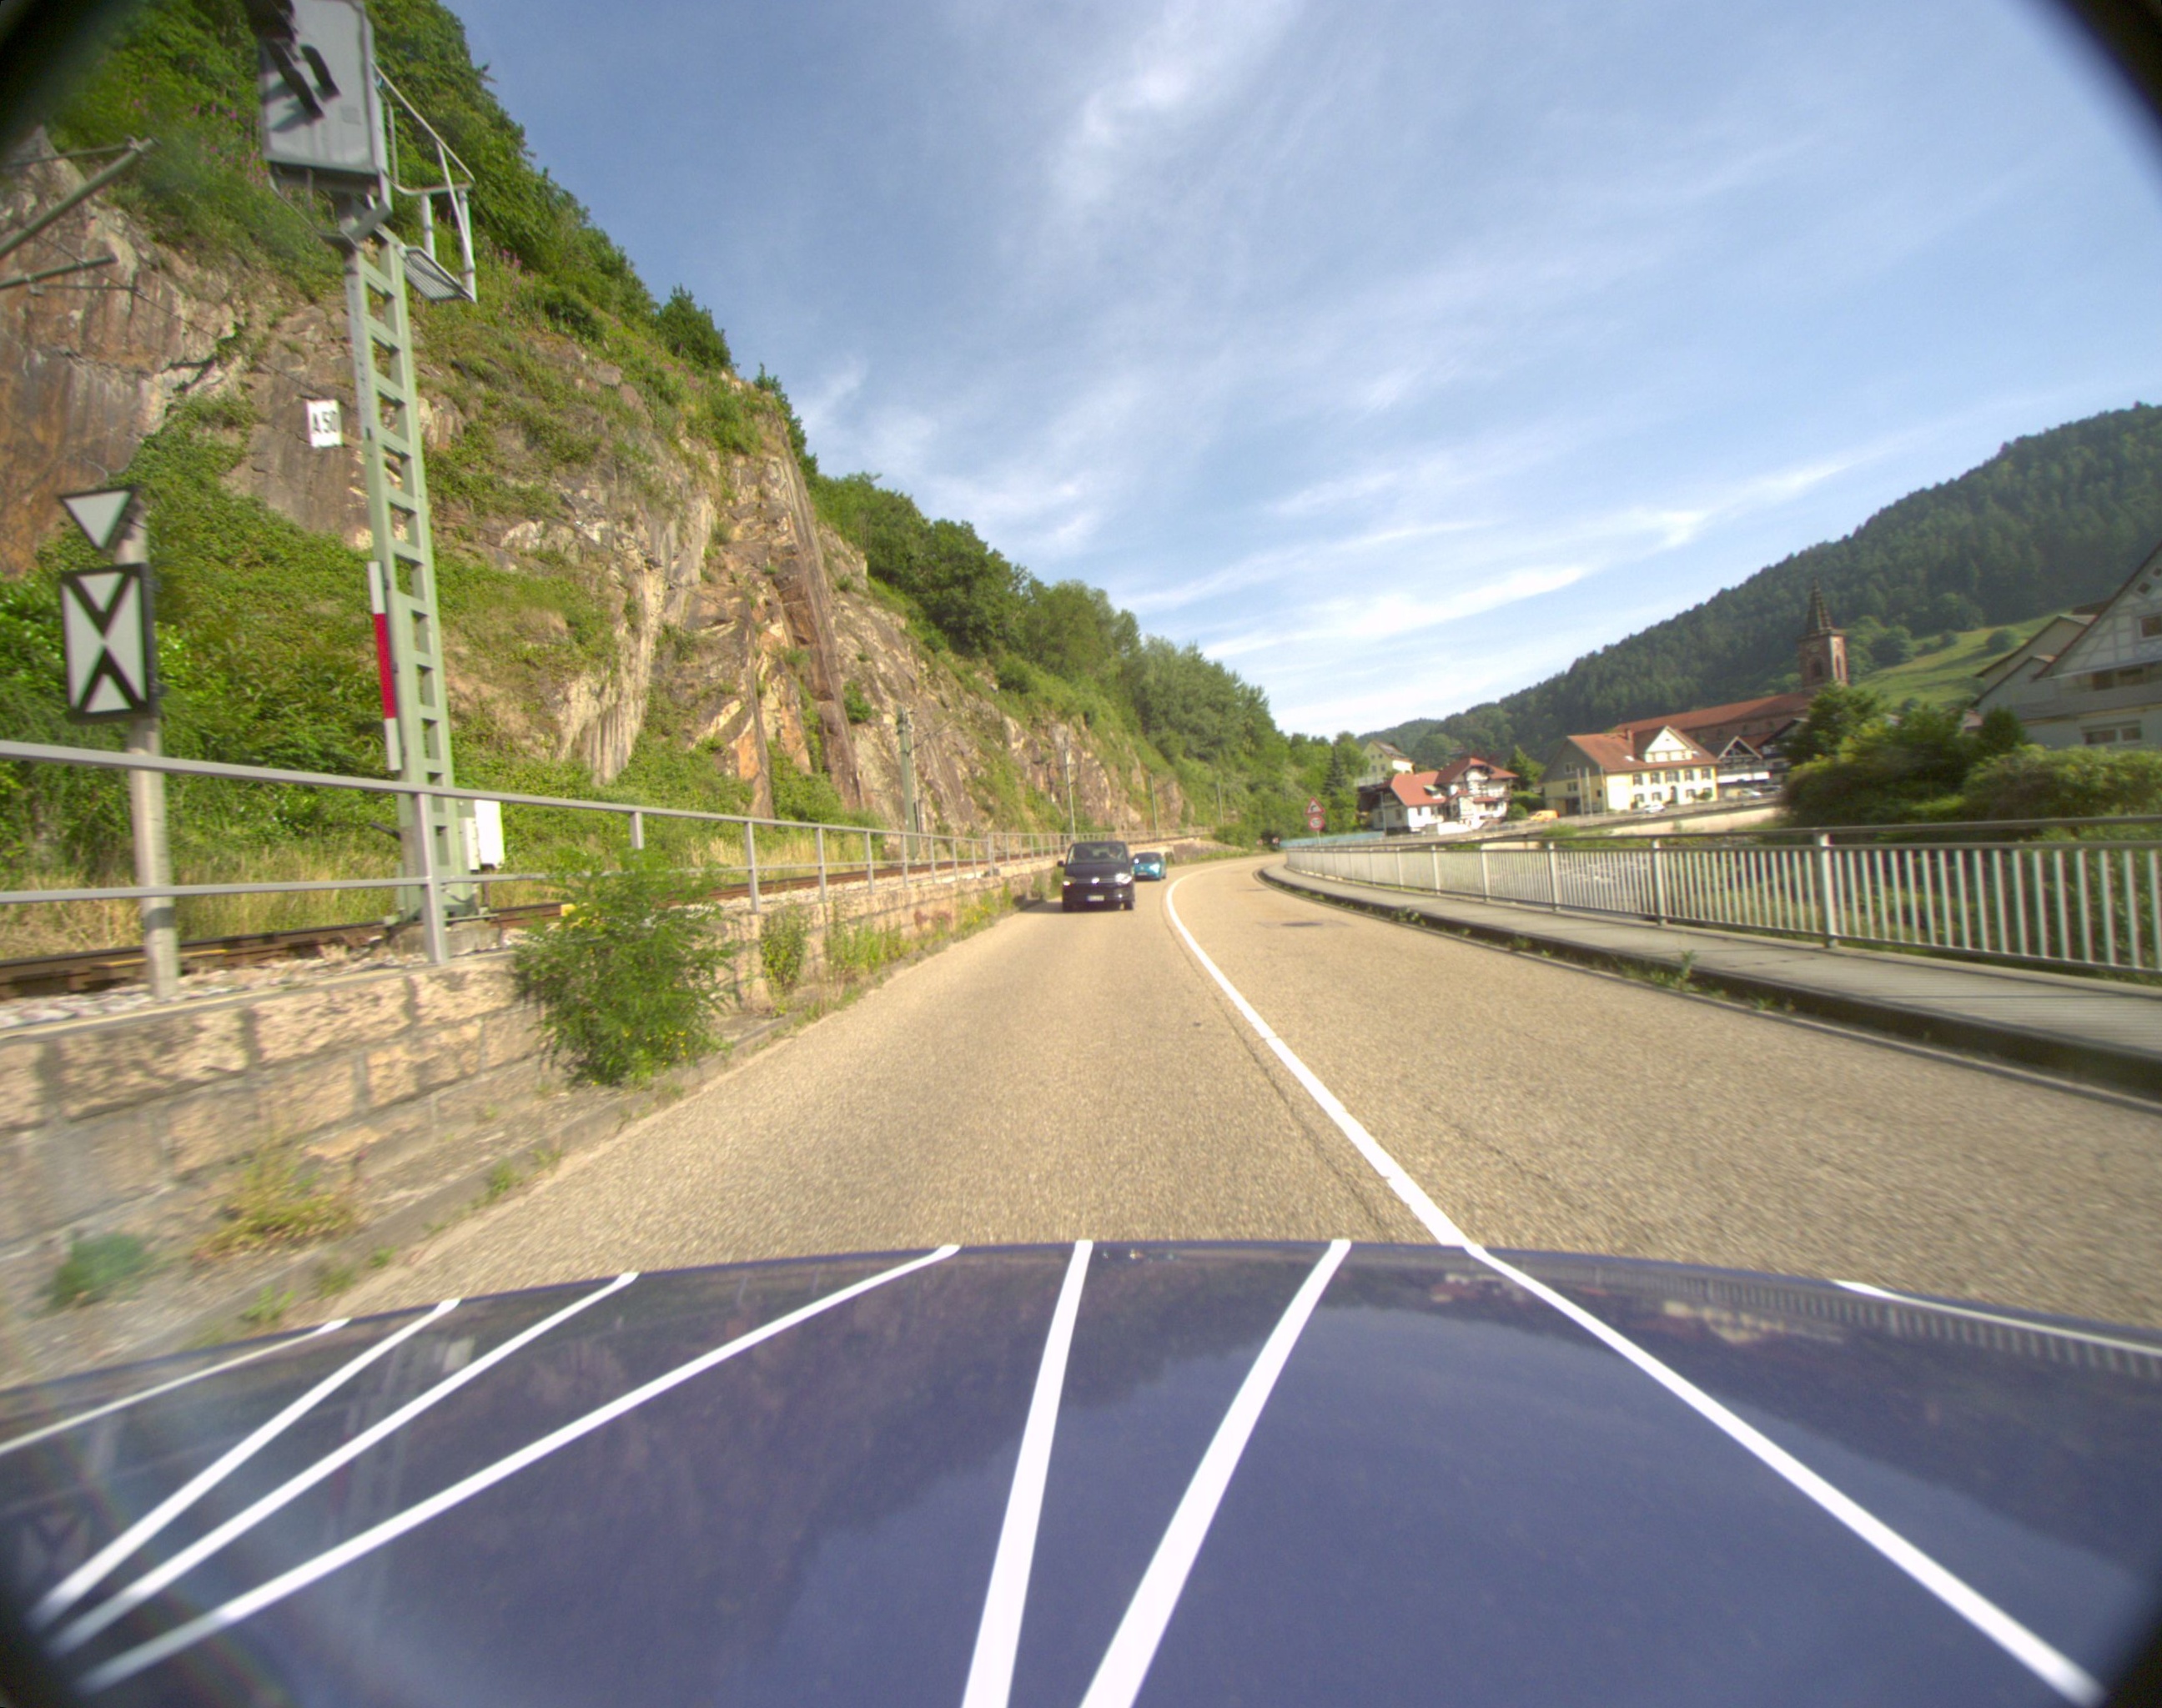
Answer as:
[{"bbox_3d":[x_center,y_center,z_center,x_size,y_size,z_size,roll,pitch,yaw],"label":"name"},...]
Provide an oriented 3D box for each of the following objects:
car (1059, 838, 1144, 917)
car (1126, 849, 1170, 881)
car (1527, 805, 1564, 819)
[{"bbox_3d":[0.728,0.582,21.883,1.886,1.952,4.868,-3,0,7],"label":"car"},{"bbox_3d":[3.640,0.539,40.881,1.681,1.513,3.869,-4,0,14],"label":"car"},{"bbox_3d":[71.332,-6.462,116.666,4.837,1.986,1.912,-1,1,-14],"label":"car"}]
